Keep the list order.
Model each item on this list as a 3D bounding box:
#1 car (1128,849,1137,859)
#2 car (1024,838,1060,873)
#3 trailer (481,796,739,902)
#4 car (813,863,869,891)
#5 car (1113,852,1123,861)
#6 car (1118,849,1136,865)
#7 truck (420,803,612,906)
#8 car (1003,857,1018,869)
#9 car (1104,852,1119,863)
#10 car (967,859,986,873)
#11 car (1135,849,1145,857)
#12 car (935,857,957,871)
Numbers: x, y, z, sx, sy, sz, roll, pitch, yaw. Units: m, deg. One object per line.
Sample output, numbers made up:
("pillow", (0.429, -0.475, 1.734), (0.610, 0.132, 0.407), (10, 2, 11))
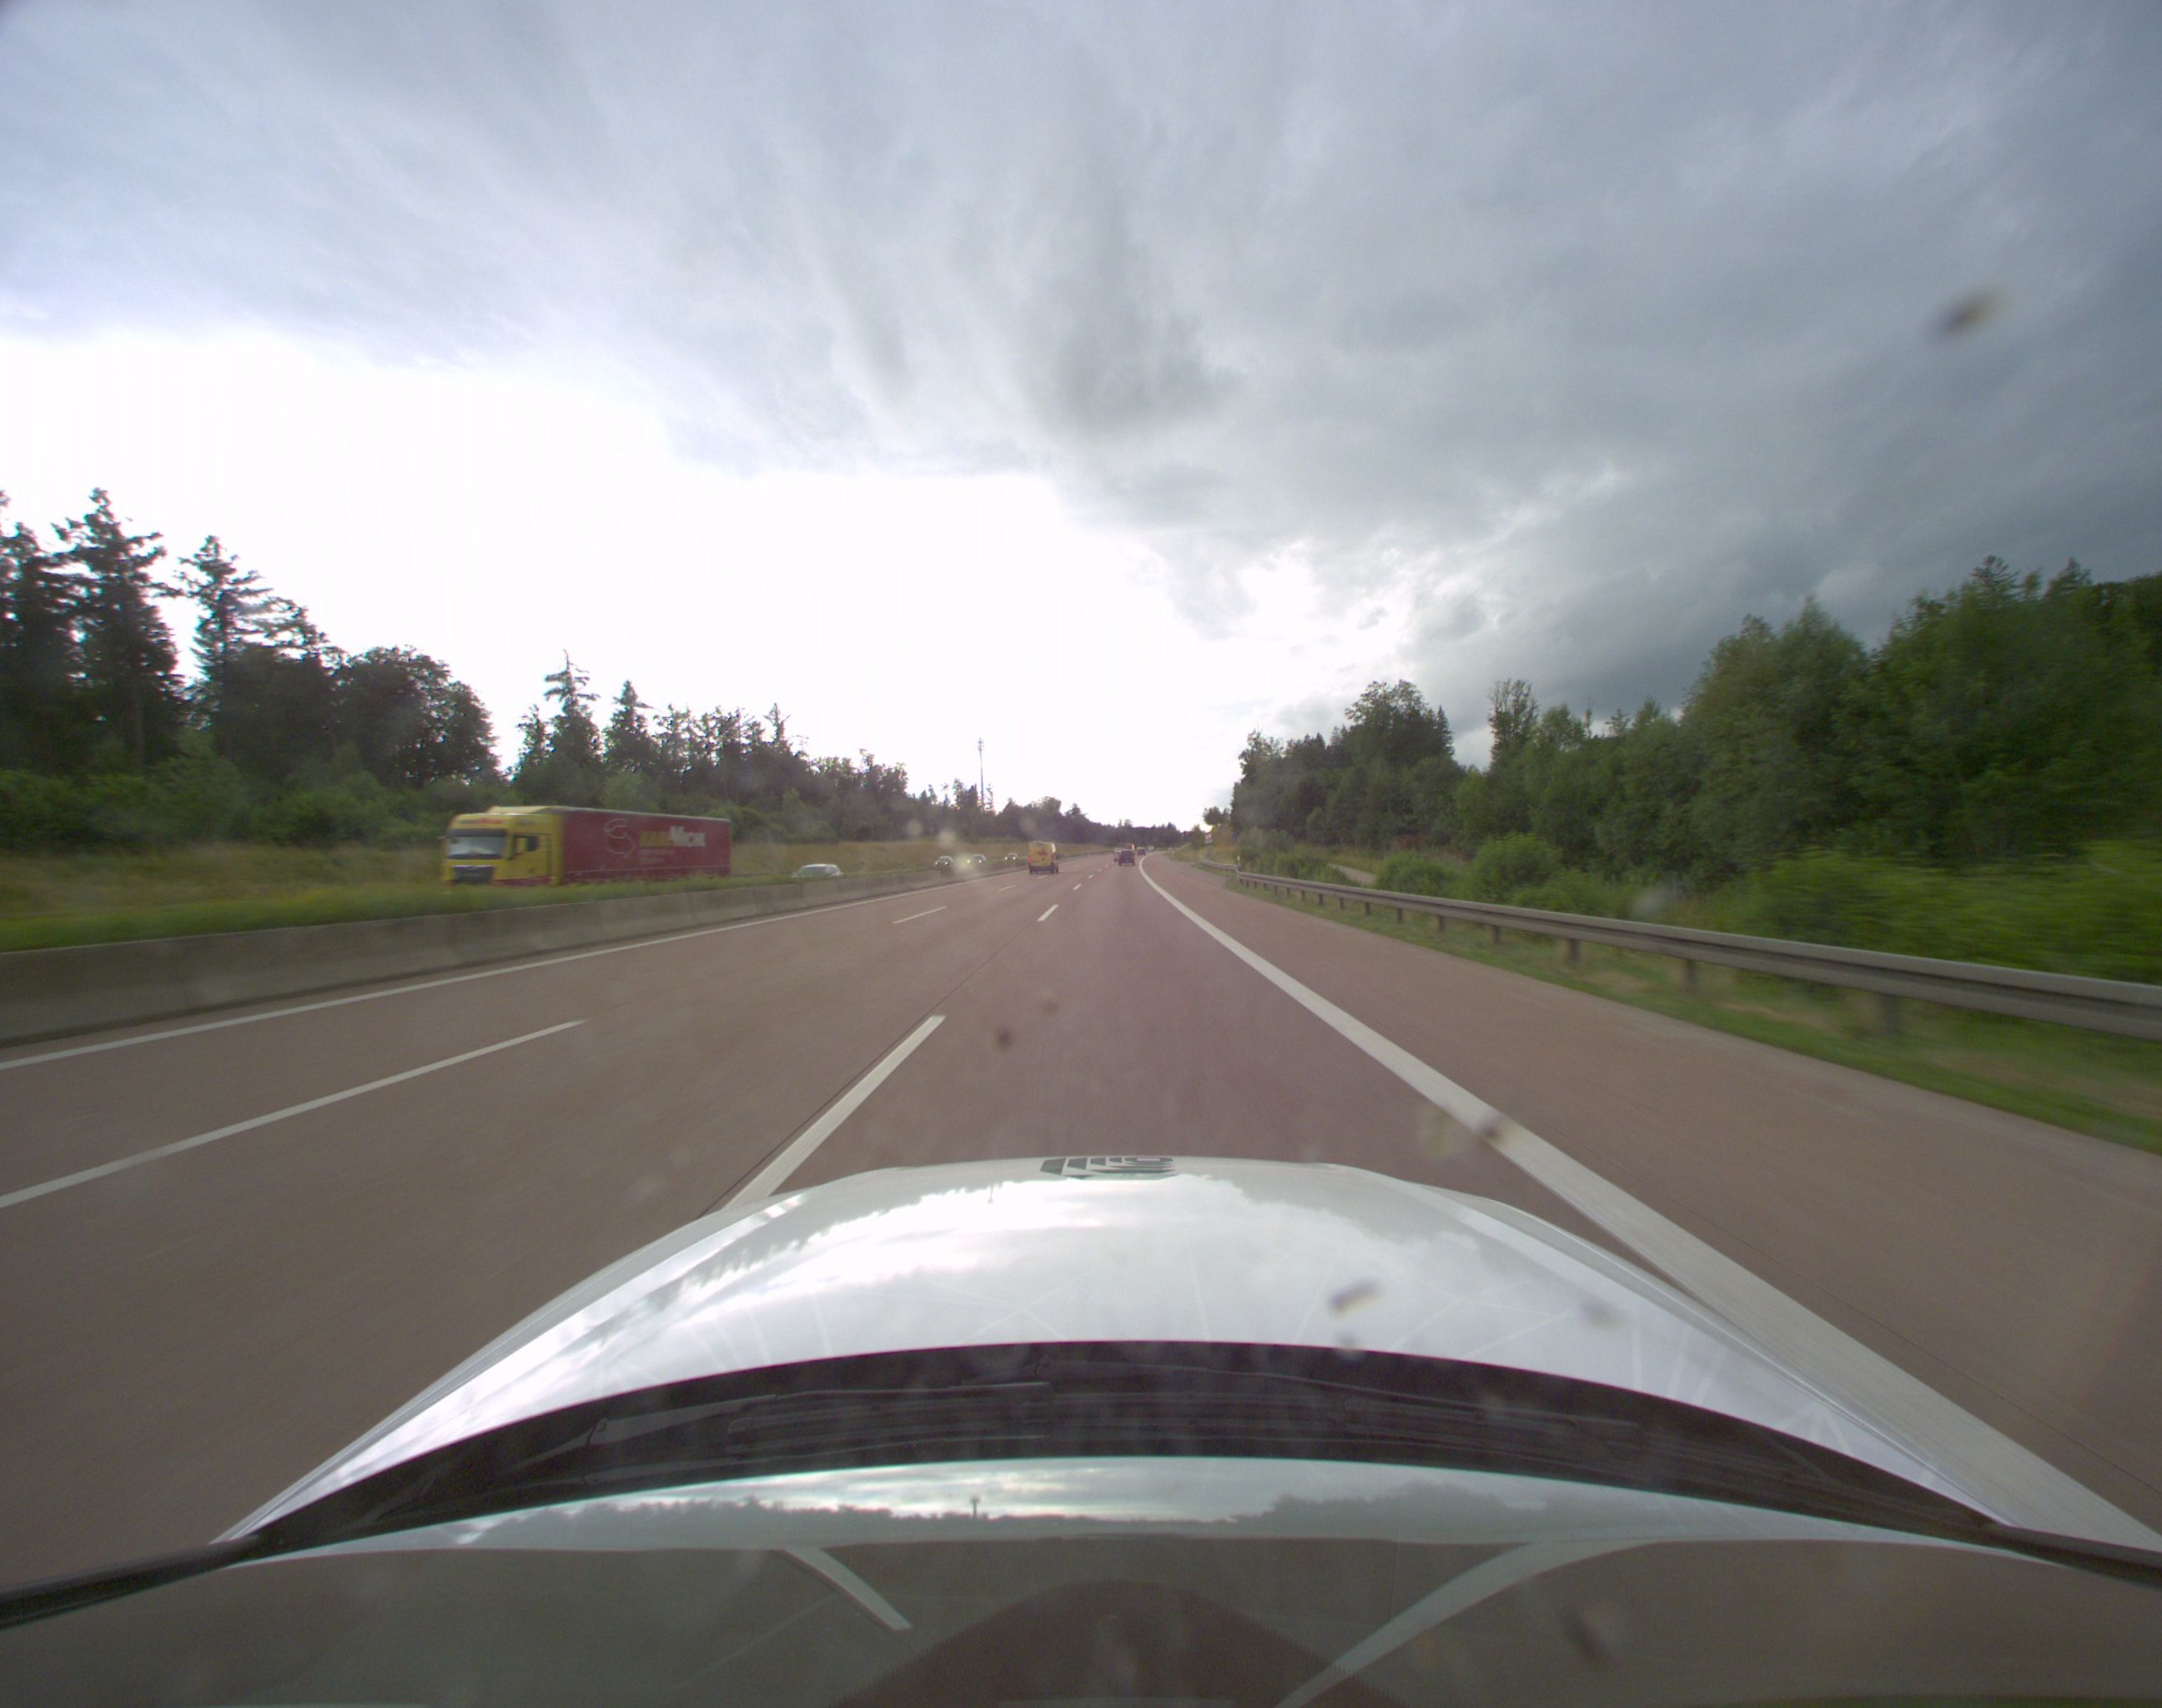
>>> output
("car", (13.942, -0.026, 220.756), (2.229, 2.430, 6.215), (-3, -1, 6))
("car", (-3.214, 0.169, 68.585), (2.448, 2.706, 5.617), (-2, -1, 3))
("trailer", (-21.116, -0.200, 38.496), (3.020, 4.041, 14.544), (-1, 0, 3))
("car", (-13.114, 1.232, 44.742), (1.734, 1.403, 4.032), (-1, 0, 2))
("car", (7.532, 0.558, 166.358), (1.970, 1.648, 4.621), (-2, -1, 2))
("car", (5.420, 0.353, 96.672), (2.036, 1.897, 5.581), (-1, 0, 3))
("truck", (-21.504, 0.035, 31.510), (3.000, 3.582, 6.062), (-1, 0, 3))
("car", (-11.704, 1.497, 135.085), (1.799, 1.816, 4.004), (-1, 0, 4))
("car", (4.601, 0.540, 123.012), (1.968, 1.648, 4.625), (-2, -1, 5))
("car", (-13.268, 1.559, 103.901), (1.756, 1.638, 4.381), (-1, -1, 1))
("car", (13.095, -0.175, 181.823), (1.970, 1.648, 4.621), (-2, -1, 2))
("car", (-16.924, 1.270, 102.303), (1.755, 1.638, 4.384), (-1, -1, 3))
